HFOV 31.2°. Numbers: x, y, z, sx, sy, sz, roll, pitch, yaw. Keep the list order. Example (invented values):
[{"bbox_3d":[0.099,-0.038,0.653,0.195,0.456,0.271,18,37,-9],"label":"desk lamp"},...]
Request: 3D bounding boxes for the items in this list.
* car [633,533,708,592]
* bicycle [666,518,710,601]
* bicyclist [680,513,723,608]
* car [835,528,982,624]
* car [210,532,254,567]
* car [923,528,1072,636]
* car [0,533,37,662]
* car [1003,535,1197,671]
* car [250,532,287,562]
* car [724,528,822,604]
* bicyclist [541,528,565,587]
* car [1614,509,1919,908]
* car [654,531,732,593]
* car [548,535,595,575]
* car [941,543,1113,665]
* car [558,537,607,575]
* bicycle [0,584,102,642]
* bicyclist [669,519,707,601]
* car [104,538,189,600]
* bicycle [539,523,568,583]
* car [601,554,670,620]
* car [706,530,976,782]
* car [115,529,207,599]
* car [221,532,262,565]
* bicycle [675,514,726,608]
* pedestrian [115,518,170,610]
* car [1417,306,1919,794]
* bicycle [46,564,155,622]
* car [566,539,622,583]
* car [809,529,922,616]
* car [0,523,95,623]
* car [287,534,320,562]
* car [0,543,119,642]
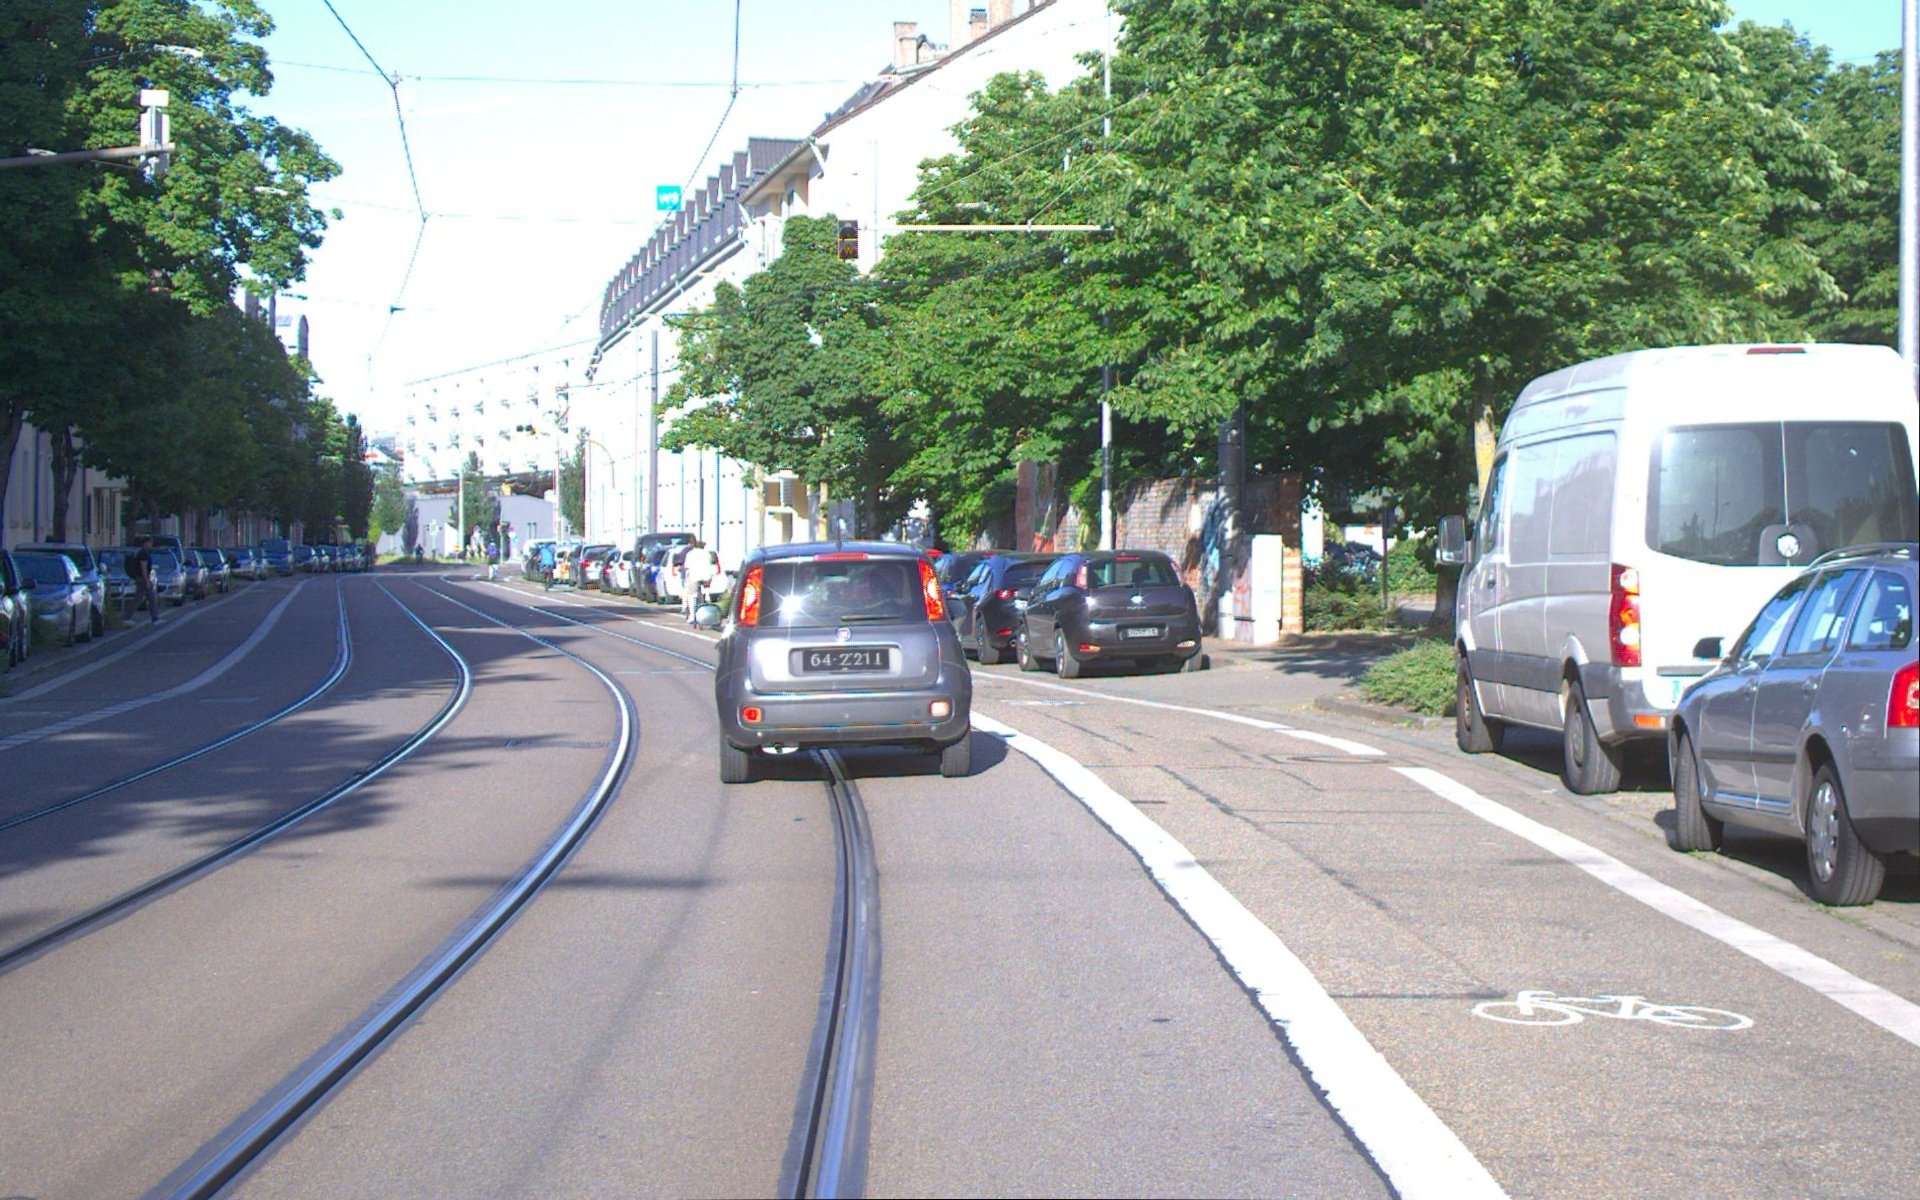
[{"bbox_3d":[-8.037,-1.049,95.217,1.655,1.566,3.877,1,1,-11],"label":"car"},{"bbox_3d":[-5.843,-0.882,73.803,0.675,1.741,2.158,1,1,-11],"label":"bicycle"},{"bbox_3d":[-4.880,-0.746,64.836,0.699,1.753,0.758,1,1,-11],"label":"bicyclist"},{"bbox_3d":[-0.909,-0.421,58.196,1.688,1.525,4.001,-2,1,-13],"label":"car"},{"bbox_3d":[-31.691,-2.210,149.716,1.706,1.491,3.723,1,1,-9],"label":"car"},{"bbox_3d":[0.524,-0.295,51.589,1.688,1.525,4.001,-1,1,-7],"label":"car"},{"bbox_3d":[-12.437,-0.079,42.539,1.786,1.525,3.859,1,1,-13],"label":"car"},{"bbox_3d":[1.640,-0.006,41.607,1.688,1.525,4.001,-1,1,-7],"label":"car"},{"bbox_3d":[-35.790,-2.734,177.935,1.706,1.491,3.723,1,1,-9],"label":"car"},{"bbox_3d":[-3.979,-0.742,72.784,1.635,1.503,3.398,-2,1,-10],"label":"car"},{"bbox_3d":[-13.972,-1.459,117.928,0.715,2.007,0.832,1,1,-11],"label":"bicyclist"},{"bbox_3d":[4.378,0.372,15.458,1.910,1.524,4.601,0,1,-1],"label":"car"},{"bbox_3d":[-7.086,-1.014,90.914,1.655,1.566,3.500,1,1,-11],"label":"car"},{"bbox_3d":[-15.714,-1.833,138.974,1.582,1.593,3.377,1,1,-11],"label":"car"},{"bbox_3d":[0.855,0.011,46.352,1.688,1.525,4.356,-1,1,-7],"label":"car"},{"bbox_3d":[-14.568,-1.716,132.627,1.582,1.400,3.377,1,1,-11],"label":"car"},{"bbox_3d":[-13.891,0.190,51.164,2.127,0.822,0.477,1,1,-11],"label":"bicycle"},{"bbox_3d":[-5.840,-0.860,73.779,0.699,1.753,0.758,1,1,-11],"label":"bicyclist"},{"bbox_3d":[-20.646,-0.802,87.378,1.808,1.503,4.682,1,1,-10],"label":"car"},{"bbox_3d":[-13.937,-1.613,117.869,0.741,2.007,2.813,1,1,-11],"label":"bicycle"},{"bbox_3d":[-10.034,-0.416,106.211,1.655,1.937,4.666,1,1,-11],"label":"car"},{"bbox_3d":[-0.746,0.305,23.204,1.650,1.536,4.235,0,1,0],"label":"car"},{"bbox_3d":[-18.094,-0.836,77.995,1.808,1.503,4.192,1,1,-10],"label":"car"},{"bbox_3d":[-34.289,-2.466,164.085,1.706,1.491,3.723,1,1,-9],"label":"car"},{"bbox_3d":[-4.904,-0.740,64.970,0.675,1.741,2.158,1,1,-11],"label":"bicycle"},{"bbox_3d":[-16.002,-0.711,67.294,0.849,1.770,0.735,-2,2,-30],"label":"pedestrian"},{"bbox_3d":[4.576,-0.333,22.197,2.180,2.656,6.092,-2,1,-2],"label":"car"},{"bbox_3d":[-16.043,-0.135,64.182,1.924,1.042,0.476,1,1,-9],"label":"bicycle"},{"bbox_3d":[-12.867,-1.381,120.703,1.582,1.400,3.377,-3,2,-11],"label":"car"},{"bbox_3d":[-1.789,-0.524,63.689,1.688,1.525,4.001,-1,1,-7],"label":"car"},{"bbox_3d":[-16.057,-0.502,60.341,1.651,1.662,4.298,1,1,-14],"label":"car"},{"bbox_3d":[-36.961,-2.941,193.618,1.706,1.491,3.723,1,1,-9],"label":"car"},{"bbox_3d":[-14.469,-0.156,54.699,1.688,1.470,4.661,1,1,-9],"label":"car"}]
